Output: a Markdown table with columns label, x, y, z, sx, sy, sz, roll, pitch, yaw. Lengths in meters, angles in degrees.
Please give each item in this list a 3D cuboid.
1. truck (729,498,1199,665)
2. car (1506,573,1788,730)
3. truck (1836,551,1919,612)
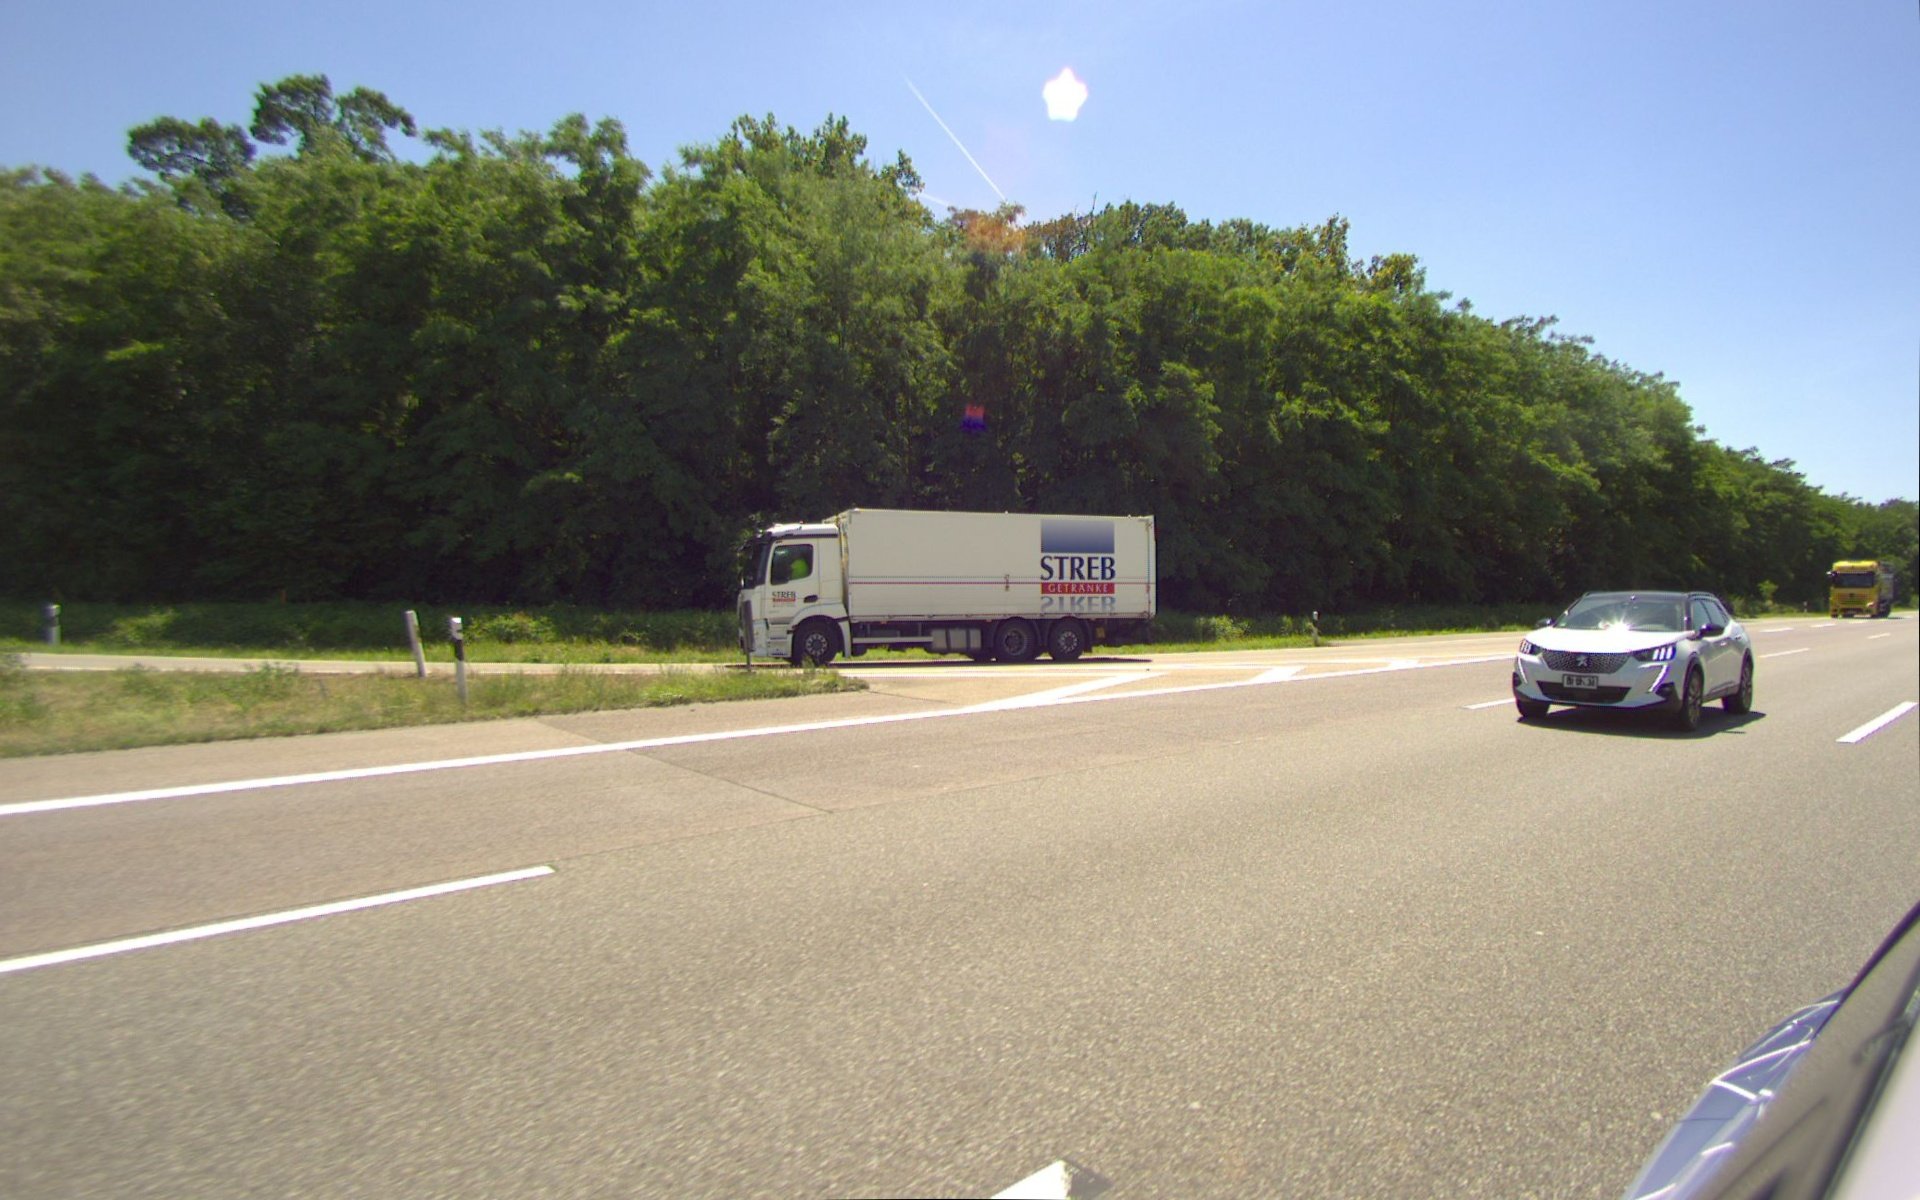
| label | x | y | z | sx | sy | sz | roll | pitch | yaw |
| --- | --- | --- | --- | --- | --- | --- | --- | --- | --- |
| truck | 0.190 | -0.413 | 23.550 | 10.544 | 3.361 | 3.044 | 0 | 0 | -20 |
| car | 8.796 | 0.502 | 12.778 | 4.725 | 1.628 | 1.830 | -1 | 1 | -41 |
| truck | 66.394 | -1.267 | 73.094 | 10.787 | 4.088 | 2.980 | -1 | -1 | -40 |
